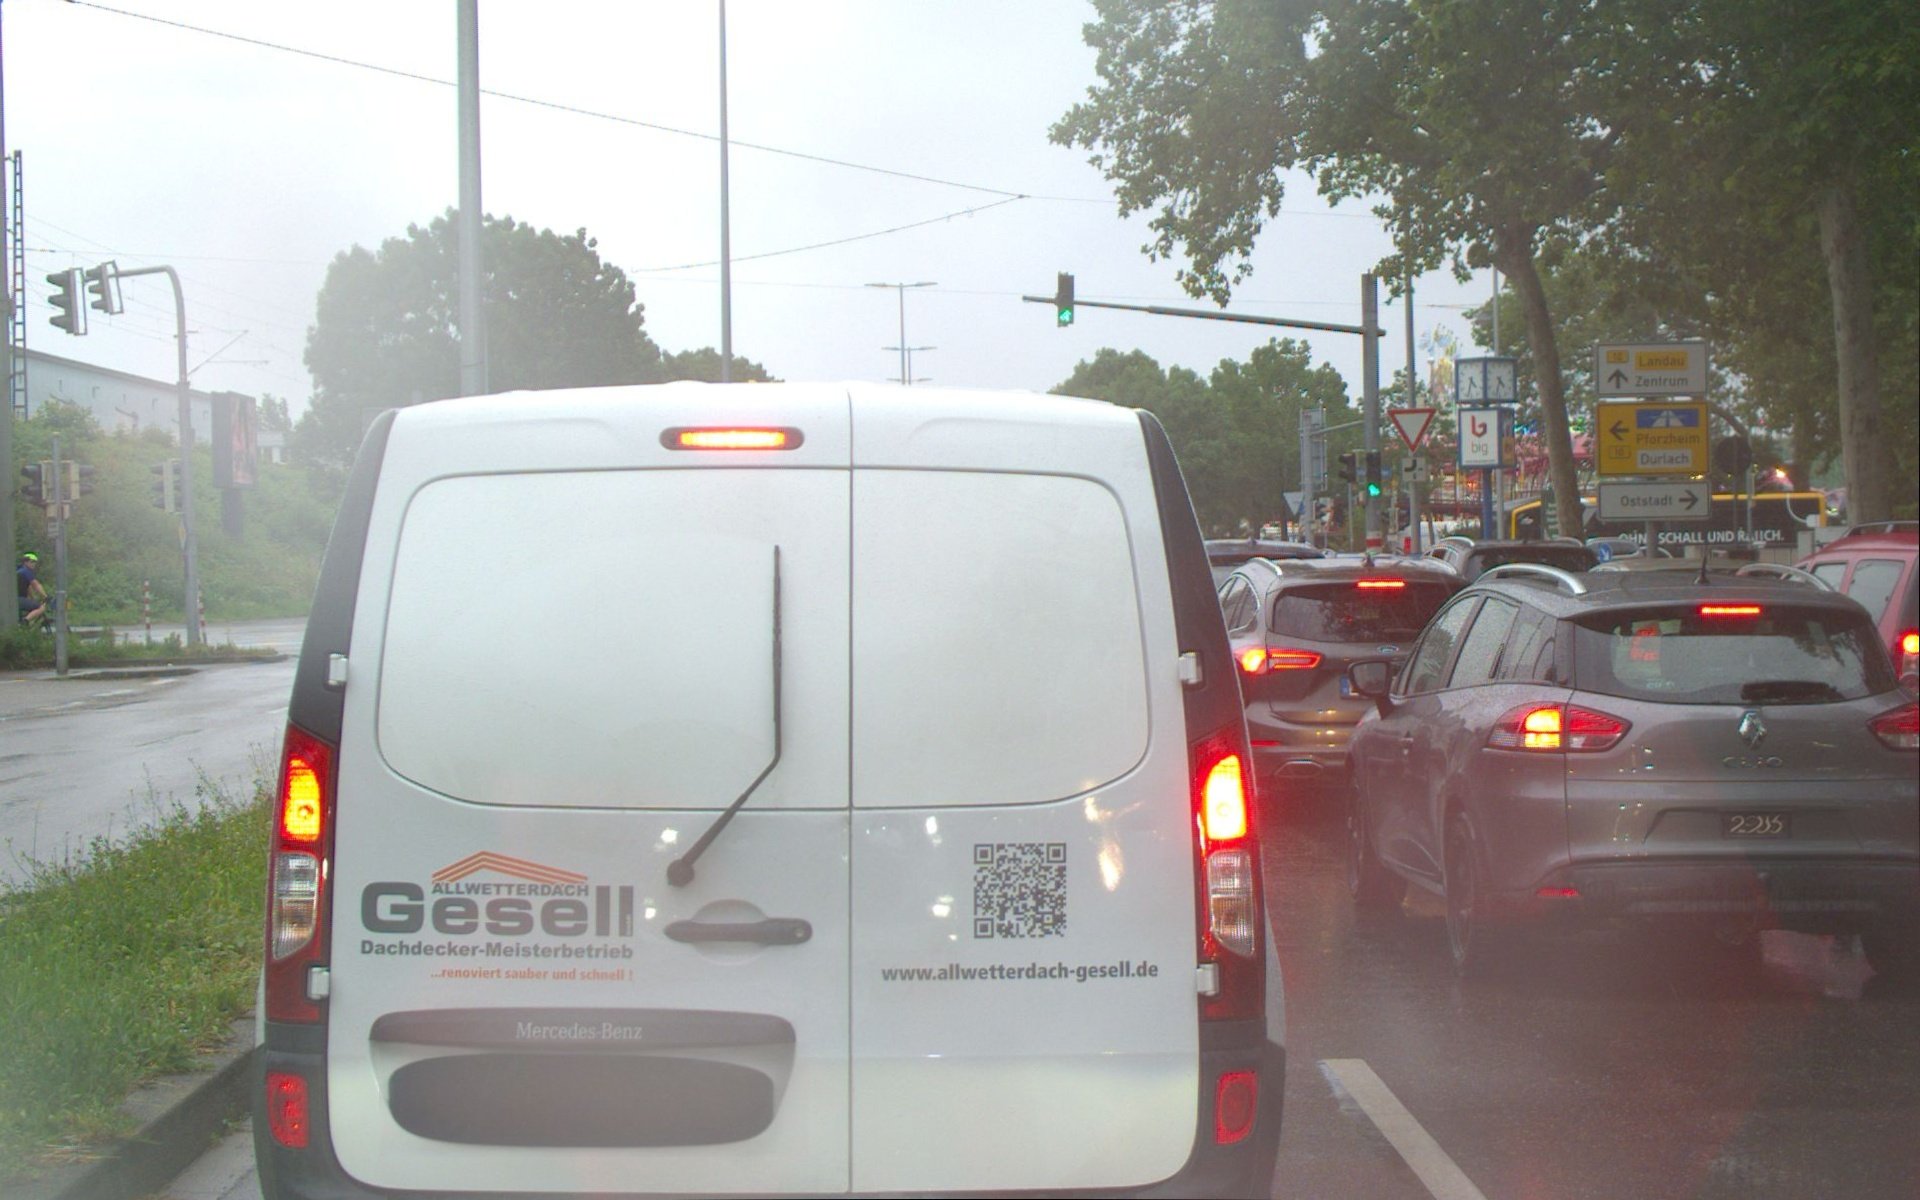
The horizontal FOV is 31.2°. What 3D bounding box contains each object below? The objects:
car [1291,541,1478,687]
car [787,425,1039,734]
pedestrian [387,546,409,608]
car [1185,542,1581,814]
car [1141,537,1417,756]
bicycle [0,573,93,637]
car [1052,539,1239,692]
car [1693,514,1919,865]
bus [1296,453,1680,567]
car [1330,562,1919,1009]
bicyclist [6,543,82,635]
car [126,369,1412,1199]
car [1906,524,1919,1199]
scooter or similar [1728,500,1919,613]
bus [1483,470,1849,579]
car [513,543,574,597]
[{"bbox_3d":[5.023,0.141,41.144,1.708,1.644,3.843,0,1,-1],"label":"car"},{"bbox_3d":[-0.370,-0.191,27.428,1.854,2.288,3.843,0,1,-1],"label":"car"},{"bbox_3d":[-15.710,-0.642,96.069,0.543,1.710,0.563,1,0,-4],"label":"pedestrian"},{"bbox_3d":[2.429,0.394,20.628,1.854,1.455,3.843,0,1,-1],"label":"car"},{"bbox_3d":[2.527,0.321,28.043,1.854,1.644,3.843,0,1,-1],"label":"car"},{"bbox_3d":[-14.828,0.062,55.565,1.040,0.949,2.889,-2,2,-25],"label":"bicycle"},{"bbox_3d":[2.049,0.148,38.929,1.854,1.644,3.843,0,1,-1],"label":"car"},{"bbox_3d":[5.334,0.432,18.693,1.710,1.688,4.272,1,0,-1],"label":"car"},{"bbox_3d":[16.953,-2.918,110.871,11.970,3.411,2.315,-1,1,0],"label":"bus"},{"bbox_3d":[2.513,0.585,13.108,1.683,1.403,3.843,1,1,-1],"label":"car"},{"bbox_3d":[-14.786,-0.181,55.468,1.040,1.445,0.729,-2,2,-25],"label":"bicyclist"},{"bbox_3d":[-0.319,0.480,7.646,1.993,1.770,4.585,0,1,-1],"label":"car"},{"bbox_3d":[2.974,0.648,5.404,1.747,1.549,4.091,0,1,-1],"label":"car"},{"bbox_3d":[19.981,-0.985,77.057,1.890,2.437,5.316,-1,1,-41],"label":"scooter or similar"},{"bbox_3d":[23.757,-2.570,115.741,11.968,3.411,2.484,-1,1,-10],"label":"bus"},{"bbox_3d":[-12.876,-0.945,106.371,1.468,1.554,3.508,-1,2,-1],"label":"car"}]
